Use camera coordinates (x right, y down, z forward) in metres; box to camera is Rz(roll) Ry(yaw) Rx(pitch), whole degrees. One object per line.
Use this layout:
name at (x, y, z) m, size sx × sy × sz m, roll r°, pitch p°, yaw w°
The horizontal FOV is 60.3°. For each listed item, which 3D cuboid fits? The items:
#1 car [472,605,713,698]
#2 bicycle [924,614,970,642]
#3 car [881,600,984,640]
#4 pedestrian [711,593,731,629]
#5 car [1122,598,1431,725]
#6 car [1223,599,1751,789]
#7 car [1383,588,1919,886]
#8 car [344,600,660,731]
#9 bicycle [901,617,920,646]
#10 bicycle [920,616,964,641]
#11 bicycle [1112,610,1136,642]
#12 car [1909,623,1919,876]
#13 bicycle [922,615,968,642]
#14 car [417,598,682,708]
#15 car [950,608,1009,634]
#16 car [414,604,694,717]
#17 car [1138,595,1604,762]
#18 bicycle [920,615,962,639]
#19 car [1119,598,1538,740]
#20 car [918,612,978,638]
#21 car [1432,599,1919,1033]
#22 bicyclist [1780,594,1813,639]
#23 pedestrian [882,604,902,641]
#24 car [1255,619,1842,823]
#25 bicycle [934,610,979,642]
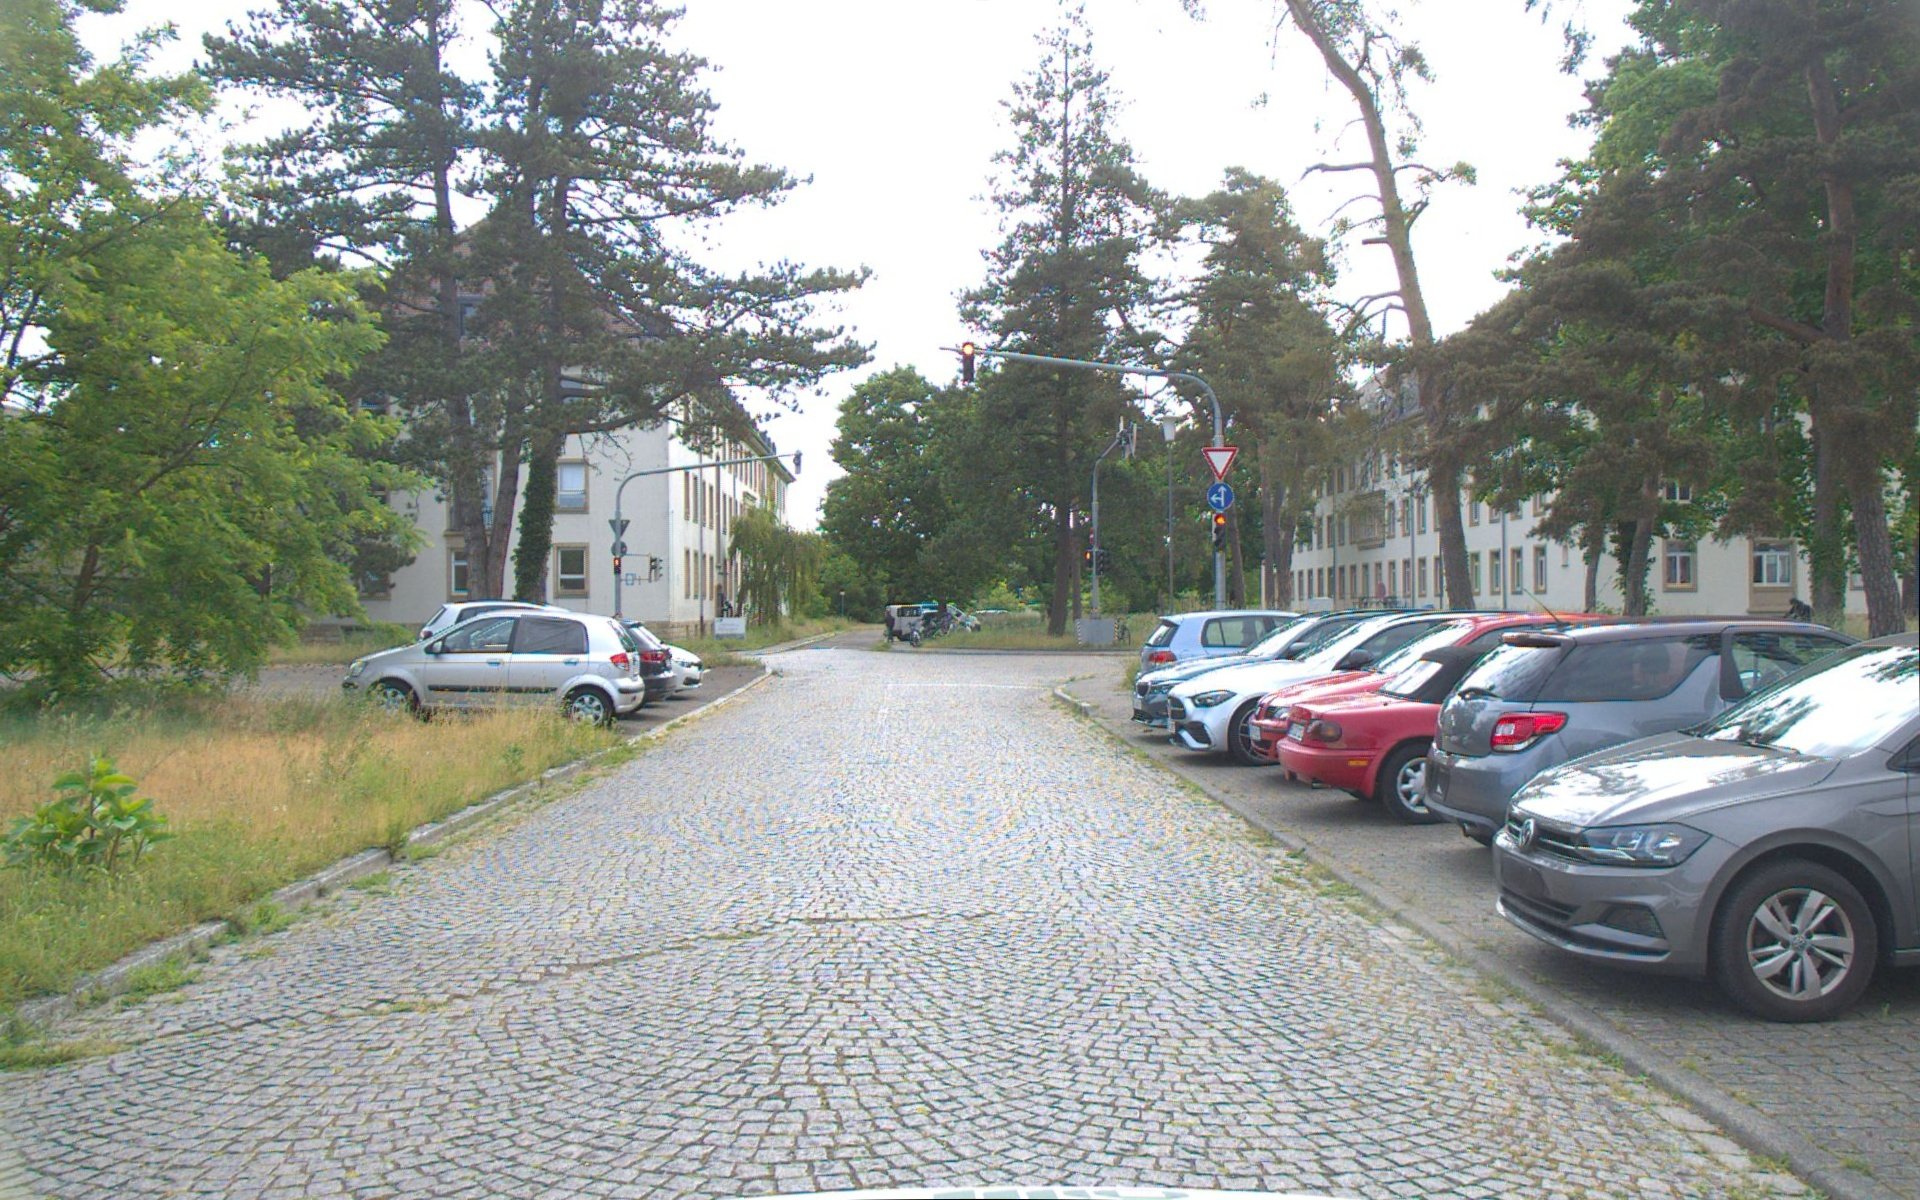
car at (-6.427, 0.895, 29.256) m, size 3.869 × 1.446 × 1.649 m, roll 2°, pitch -1°, yaw -3°
bicycle at (-0.569, 1.195, 71.200) m, size 1.919 × 1.152 × 0.587 m, roll 0°, pitch 0°, yaw -9°
car at (-1.491, 1.048, 89.259) m, size 5.265 × 1.958 × 2.019 m, roll -2°, pitch 0°, yaw -11°
pedestrian at (-12.492, 0.596, 86.533) m, size 0.767 × 1.870 × 0.732 m, roll 0°, pitch -1°, yaw -33°
car at (4.231, 0.809, 22.514) m, size 3.847 × 1.503 × 1.642 m, roll -2°, pitch 0°, yaw 0°
car at (4.683, 0.805, 15.121) m, size 4.176 × 1.441 × 1.870 m, roll -2°, pitch 0°, yaw -2°
car at (4.716, 0.739, 10.010) m, size 3.785 × 1.498 × 1.757 m, roll -2°, pitch 0°, yaw -3°
car at (-5.819, 0.828, 21.357) m, size 3.630 × 1.505 × 1.581 m, roll 2°, pitch -1°, yaw -5°
bicycle at (-2.046, 1.288, 67.950) m, size 0.591 × 1.152 × 1.958 m, roll 0°, pitch 0°, yaw -7°
bicycle at (-0.800, 1.259, 73.309) m, size 1.936 × 1.088 × 0.581 m, roll 0°, pitch 0°, yaw -32°
bicycle at (5.869, 0.931, 59.313) m, size 0.574 × 1.125 × 1.960 m, roll 0°, pitch 0°, yaw -2°
car at (4.846, 0.741, 4.238) m, size 3.784 × 1.498 × 1.758 m, roll -2°, pitch 0°, yaw -1°
bicycle at (-0.650, 1.224, 71.830) m, size 1.919 × 1.136 × 0.587 m, roll 0°, pitch 0°, yaw -9°
car at (-6.545, 0.838, 26.710) m, size 3.870 × 1.590 × 1.648 m, roll 2°, pitch -1°, yaw -5°
car at (1.069, 1.170, 93.229) m, size 3.168 × 1.441 × 1.723 m, roll -1°, pitch 0°, yaw -5°
car at (-5.802, 0.860, 23.956) m, size 3.673 × 1.453 × 1.581 m, roll 2°, pitch -1°, yaw -5°
car at (4.249, 0.770, 17.375) m, size 4.343 × 1.441 × 1.866 m, roll -2°, pitch 0°, yaw -11°
bicycle at (-0.884, 1.282, 78.343) m, size 1.931 × 1.088 × 0.583 m, roll 0°, pitch 0°, yaw -27°
car at (4.379, 0.797, 20.067) m, size 4.589 × 1.441 × 1.869 m, roll -2°, pitch 0°, yaw -4°
car at (-0.617, 1.300, 85.912) m, size 2.949 × 1.290 × 1.532 m, roll -1°, pitch 0°, yaw -8°
car at (4.215, 0.761, 7.119) m, size 3.788 × 1.498 × 1.756 m, roll -2°, pitch 0°, yaw -6°
bicyclist at (26.975, 0.518, 53.340) m, size 0.733 × 1.435 × 0.605 m, roll 0°, pitch 0°, yaw 4°
pedestrian at (-3.110, 1.022, 75.838) m, size 0.727 × 1.647 × 0.772 m, roll 0°, pitch -1°, yaw -19°
car at (4.332, 0.855, 12.559) m, size 3.785 × 1.258 × 1.757 m, roll -2°, pitch 0°, yaw -3°
bicycle at (-0.146, 1.144, 72.680) m, size 1.919 × 1.408 × 0.587 m, roll 0°, pitch 0°, yaw -9°
